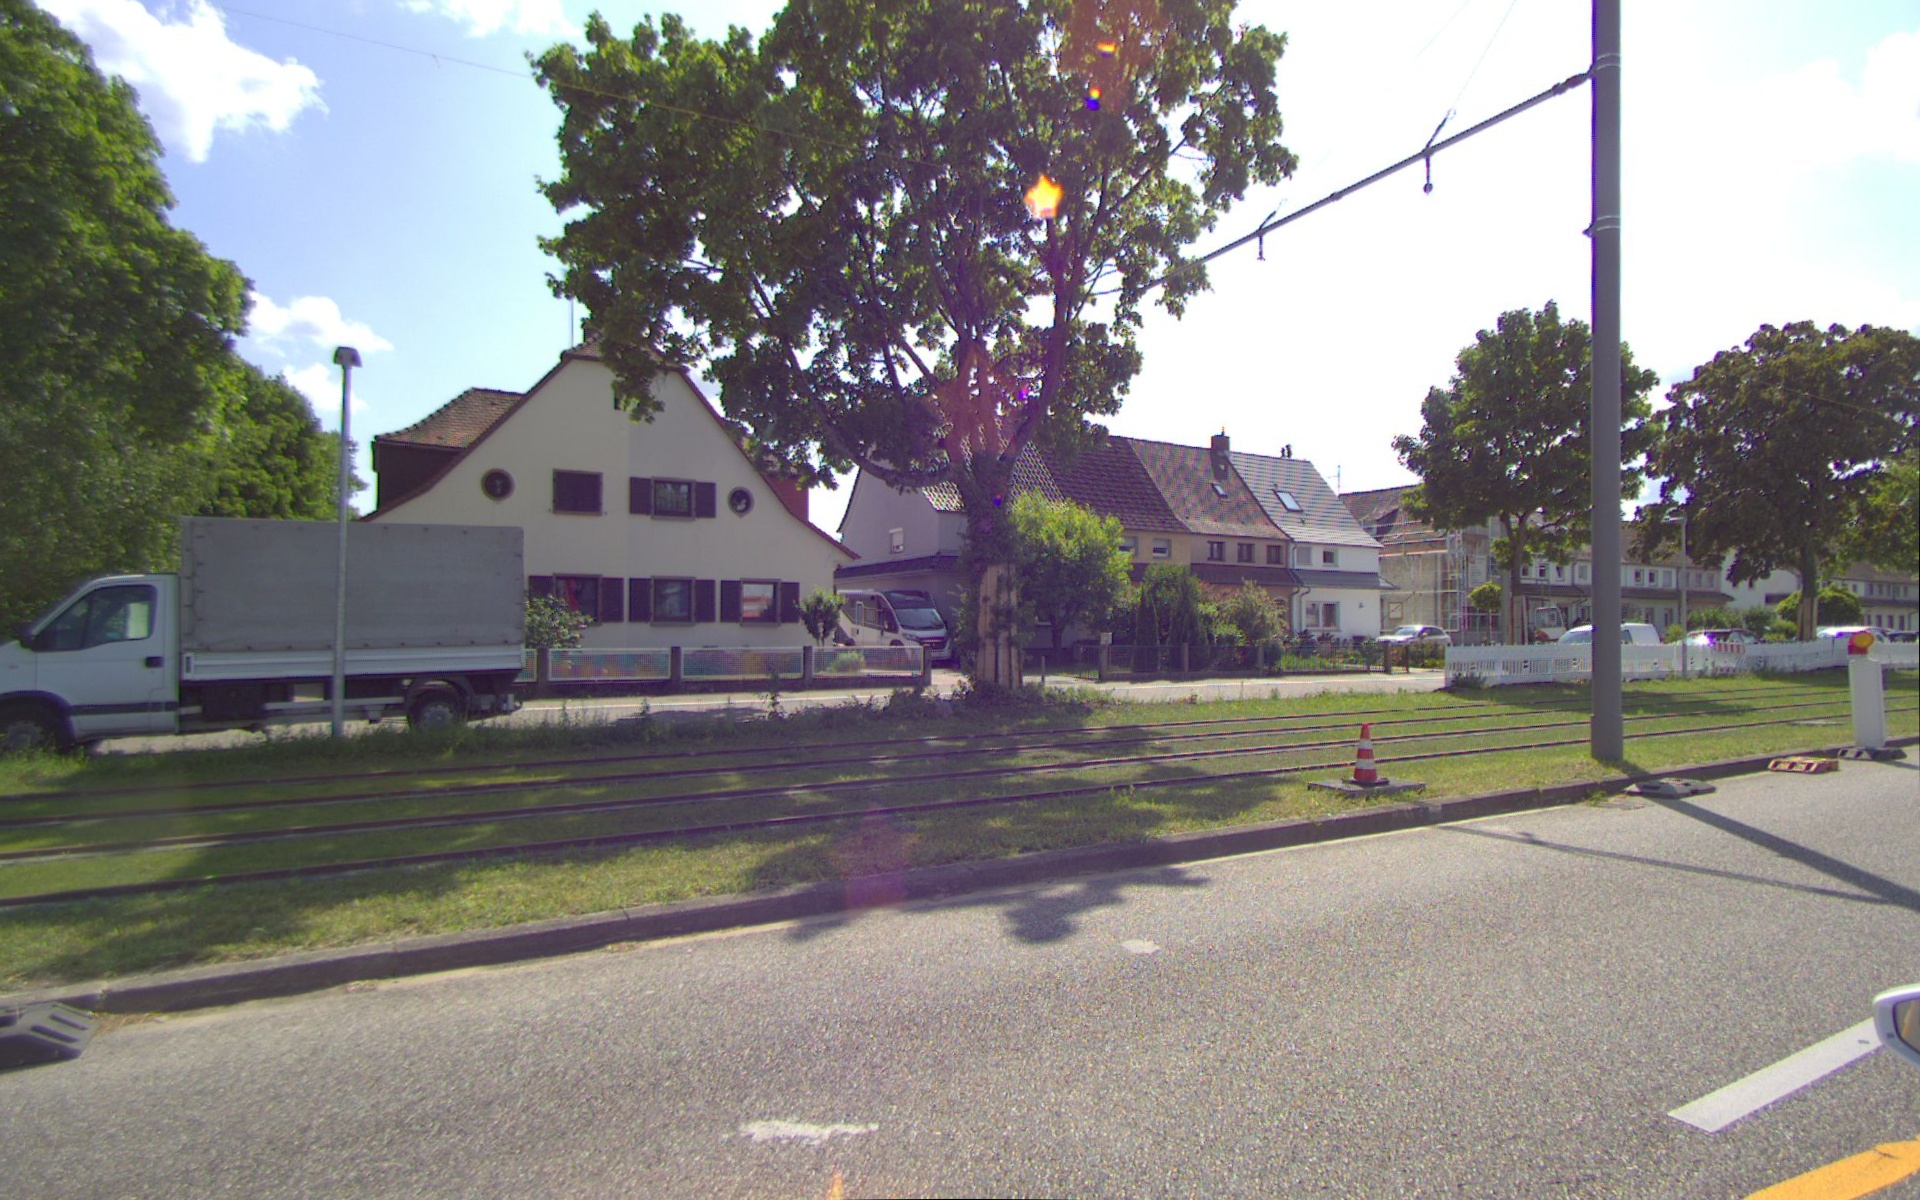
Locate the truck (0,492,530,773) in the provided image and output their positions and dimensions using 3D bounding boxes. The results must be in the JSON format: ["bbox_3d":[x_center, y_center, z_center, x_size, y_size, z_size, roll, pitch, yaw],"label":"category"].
[{"bbox_3d":[-8.795,0.413,12.934,5.805,3.027,1.994,1,-2,-30],"label":"truck"}]

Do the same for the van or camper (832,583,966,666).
[{"bbox_3d":[-2.348,0.908,36.650,2.224,2.745,5.963,1,-2,-33],"label":"van or camper"}]

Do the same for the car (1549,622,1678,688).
[{"bbox_3d":[19.504,1.604,29.960,3.814,1.841,1.691,1,-2,-30],"label":"car"}]

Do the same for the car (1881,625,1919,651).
[{"bbox_3d":[66.754,2.682,70.733,4.013,1.762,1.691,1,-2,-30],"label":"car"}]

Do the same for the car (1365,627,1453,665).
[{"bbox_3d":[19.891,1.993,44.480,3.814,1.614,1.691,1,-2,-30],"label":"car"}]

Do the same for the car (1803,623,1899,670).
[{"bbox_3d":[34.968,1.802,39.413,3.814,1.762,1.691,1,-2,-30],"label":"car"}]

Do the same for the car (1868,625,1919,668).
[{"bbox_3d":[40.391,1.960,42.601,3.814,1.762,1.691,1,-2,-30],"label":"car"}]

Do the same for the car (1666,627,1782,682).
[{"bbox_3d":[25.748,1.799,33.827,4.006,1.762,1.691,1,-2,-30],"label":"car"}]
